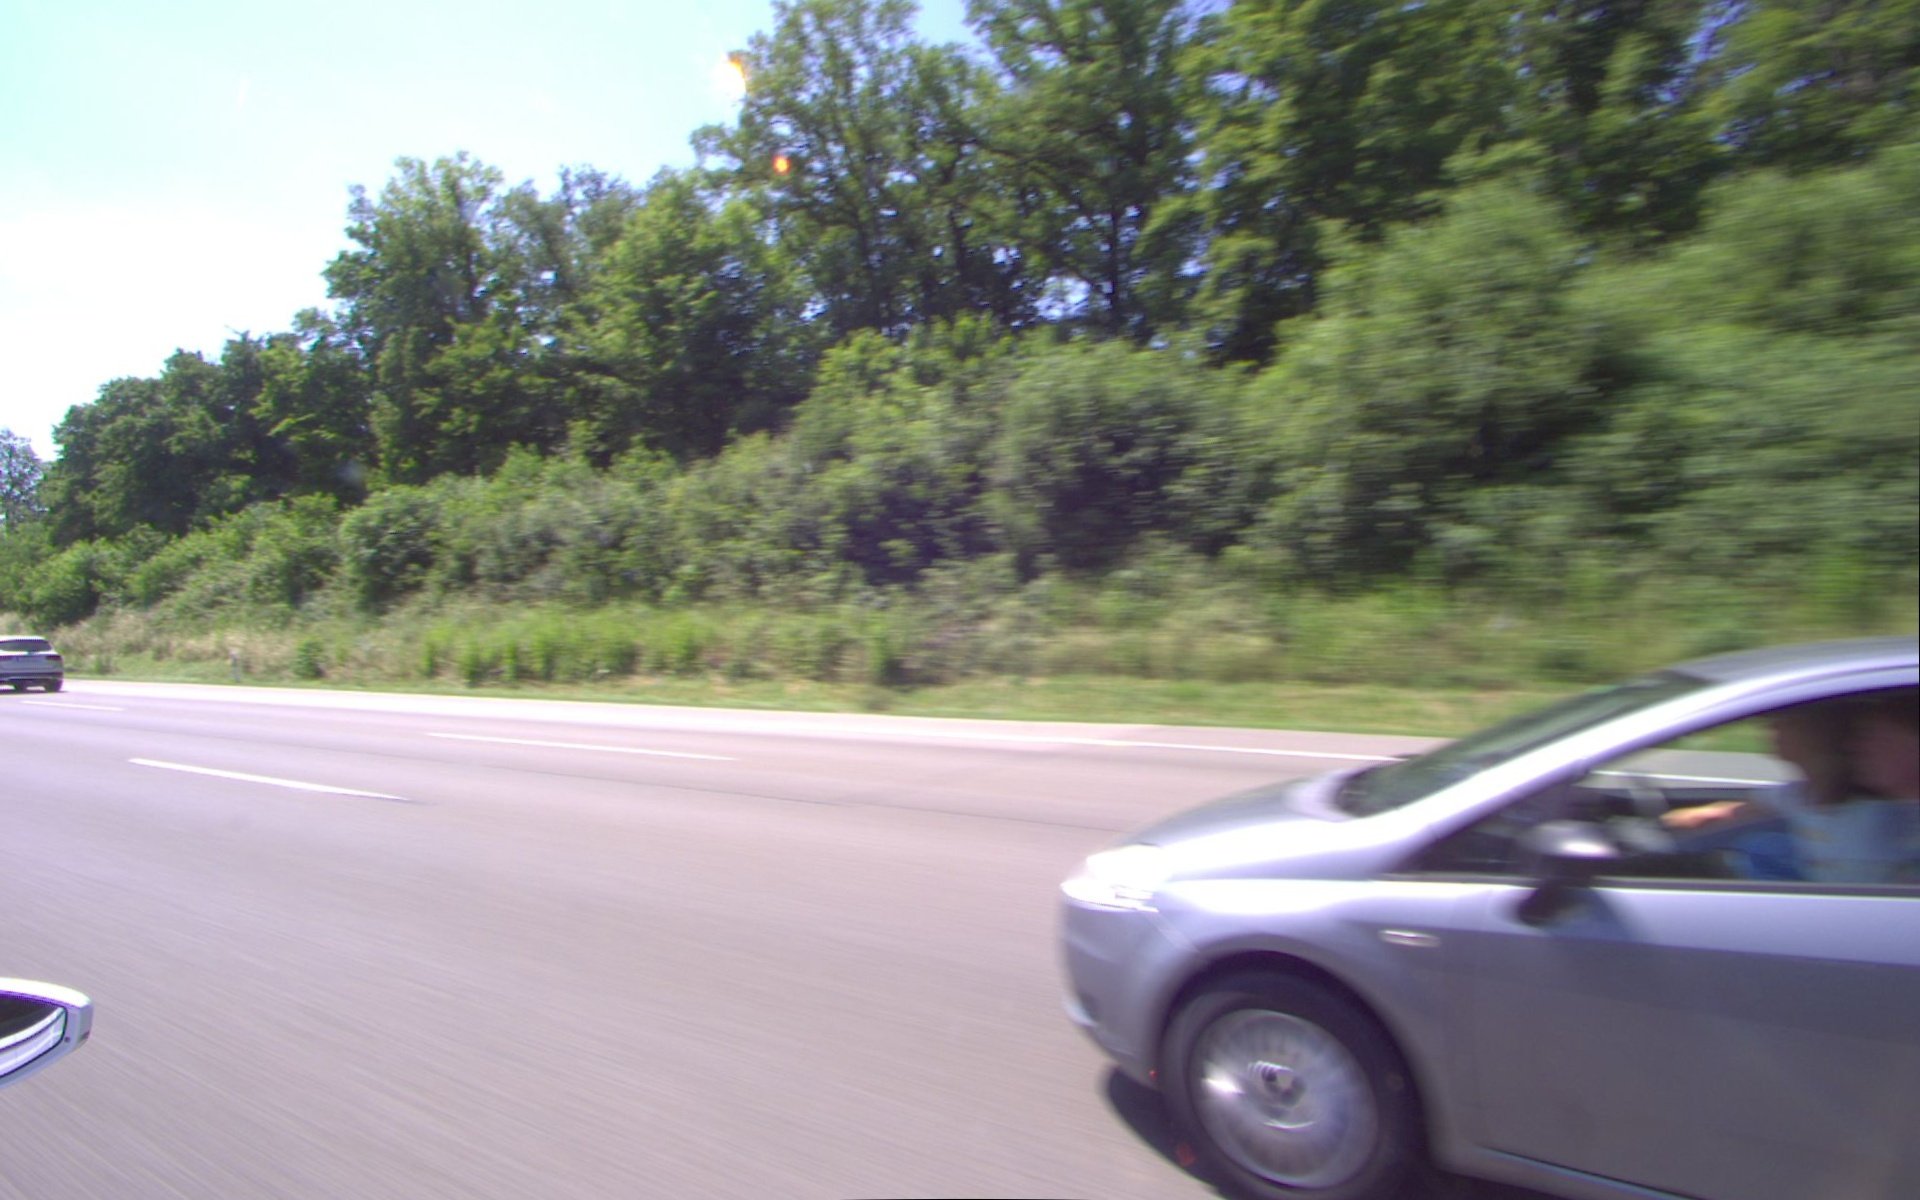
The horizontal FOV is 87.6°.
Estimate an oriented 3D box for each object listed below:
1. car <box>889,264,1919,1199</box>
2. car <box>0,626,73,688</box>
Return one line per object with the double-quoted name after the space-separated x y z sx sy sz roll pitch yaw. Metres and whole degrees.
2.303 0.481 2.529 4.715 2.079 1.958 -1 -2 32 "car"
-28.870 1.675 30.174 5.164 1.753 1.798 -1 -2 32 "car"
